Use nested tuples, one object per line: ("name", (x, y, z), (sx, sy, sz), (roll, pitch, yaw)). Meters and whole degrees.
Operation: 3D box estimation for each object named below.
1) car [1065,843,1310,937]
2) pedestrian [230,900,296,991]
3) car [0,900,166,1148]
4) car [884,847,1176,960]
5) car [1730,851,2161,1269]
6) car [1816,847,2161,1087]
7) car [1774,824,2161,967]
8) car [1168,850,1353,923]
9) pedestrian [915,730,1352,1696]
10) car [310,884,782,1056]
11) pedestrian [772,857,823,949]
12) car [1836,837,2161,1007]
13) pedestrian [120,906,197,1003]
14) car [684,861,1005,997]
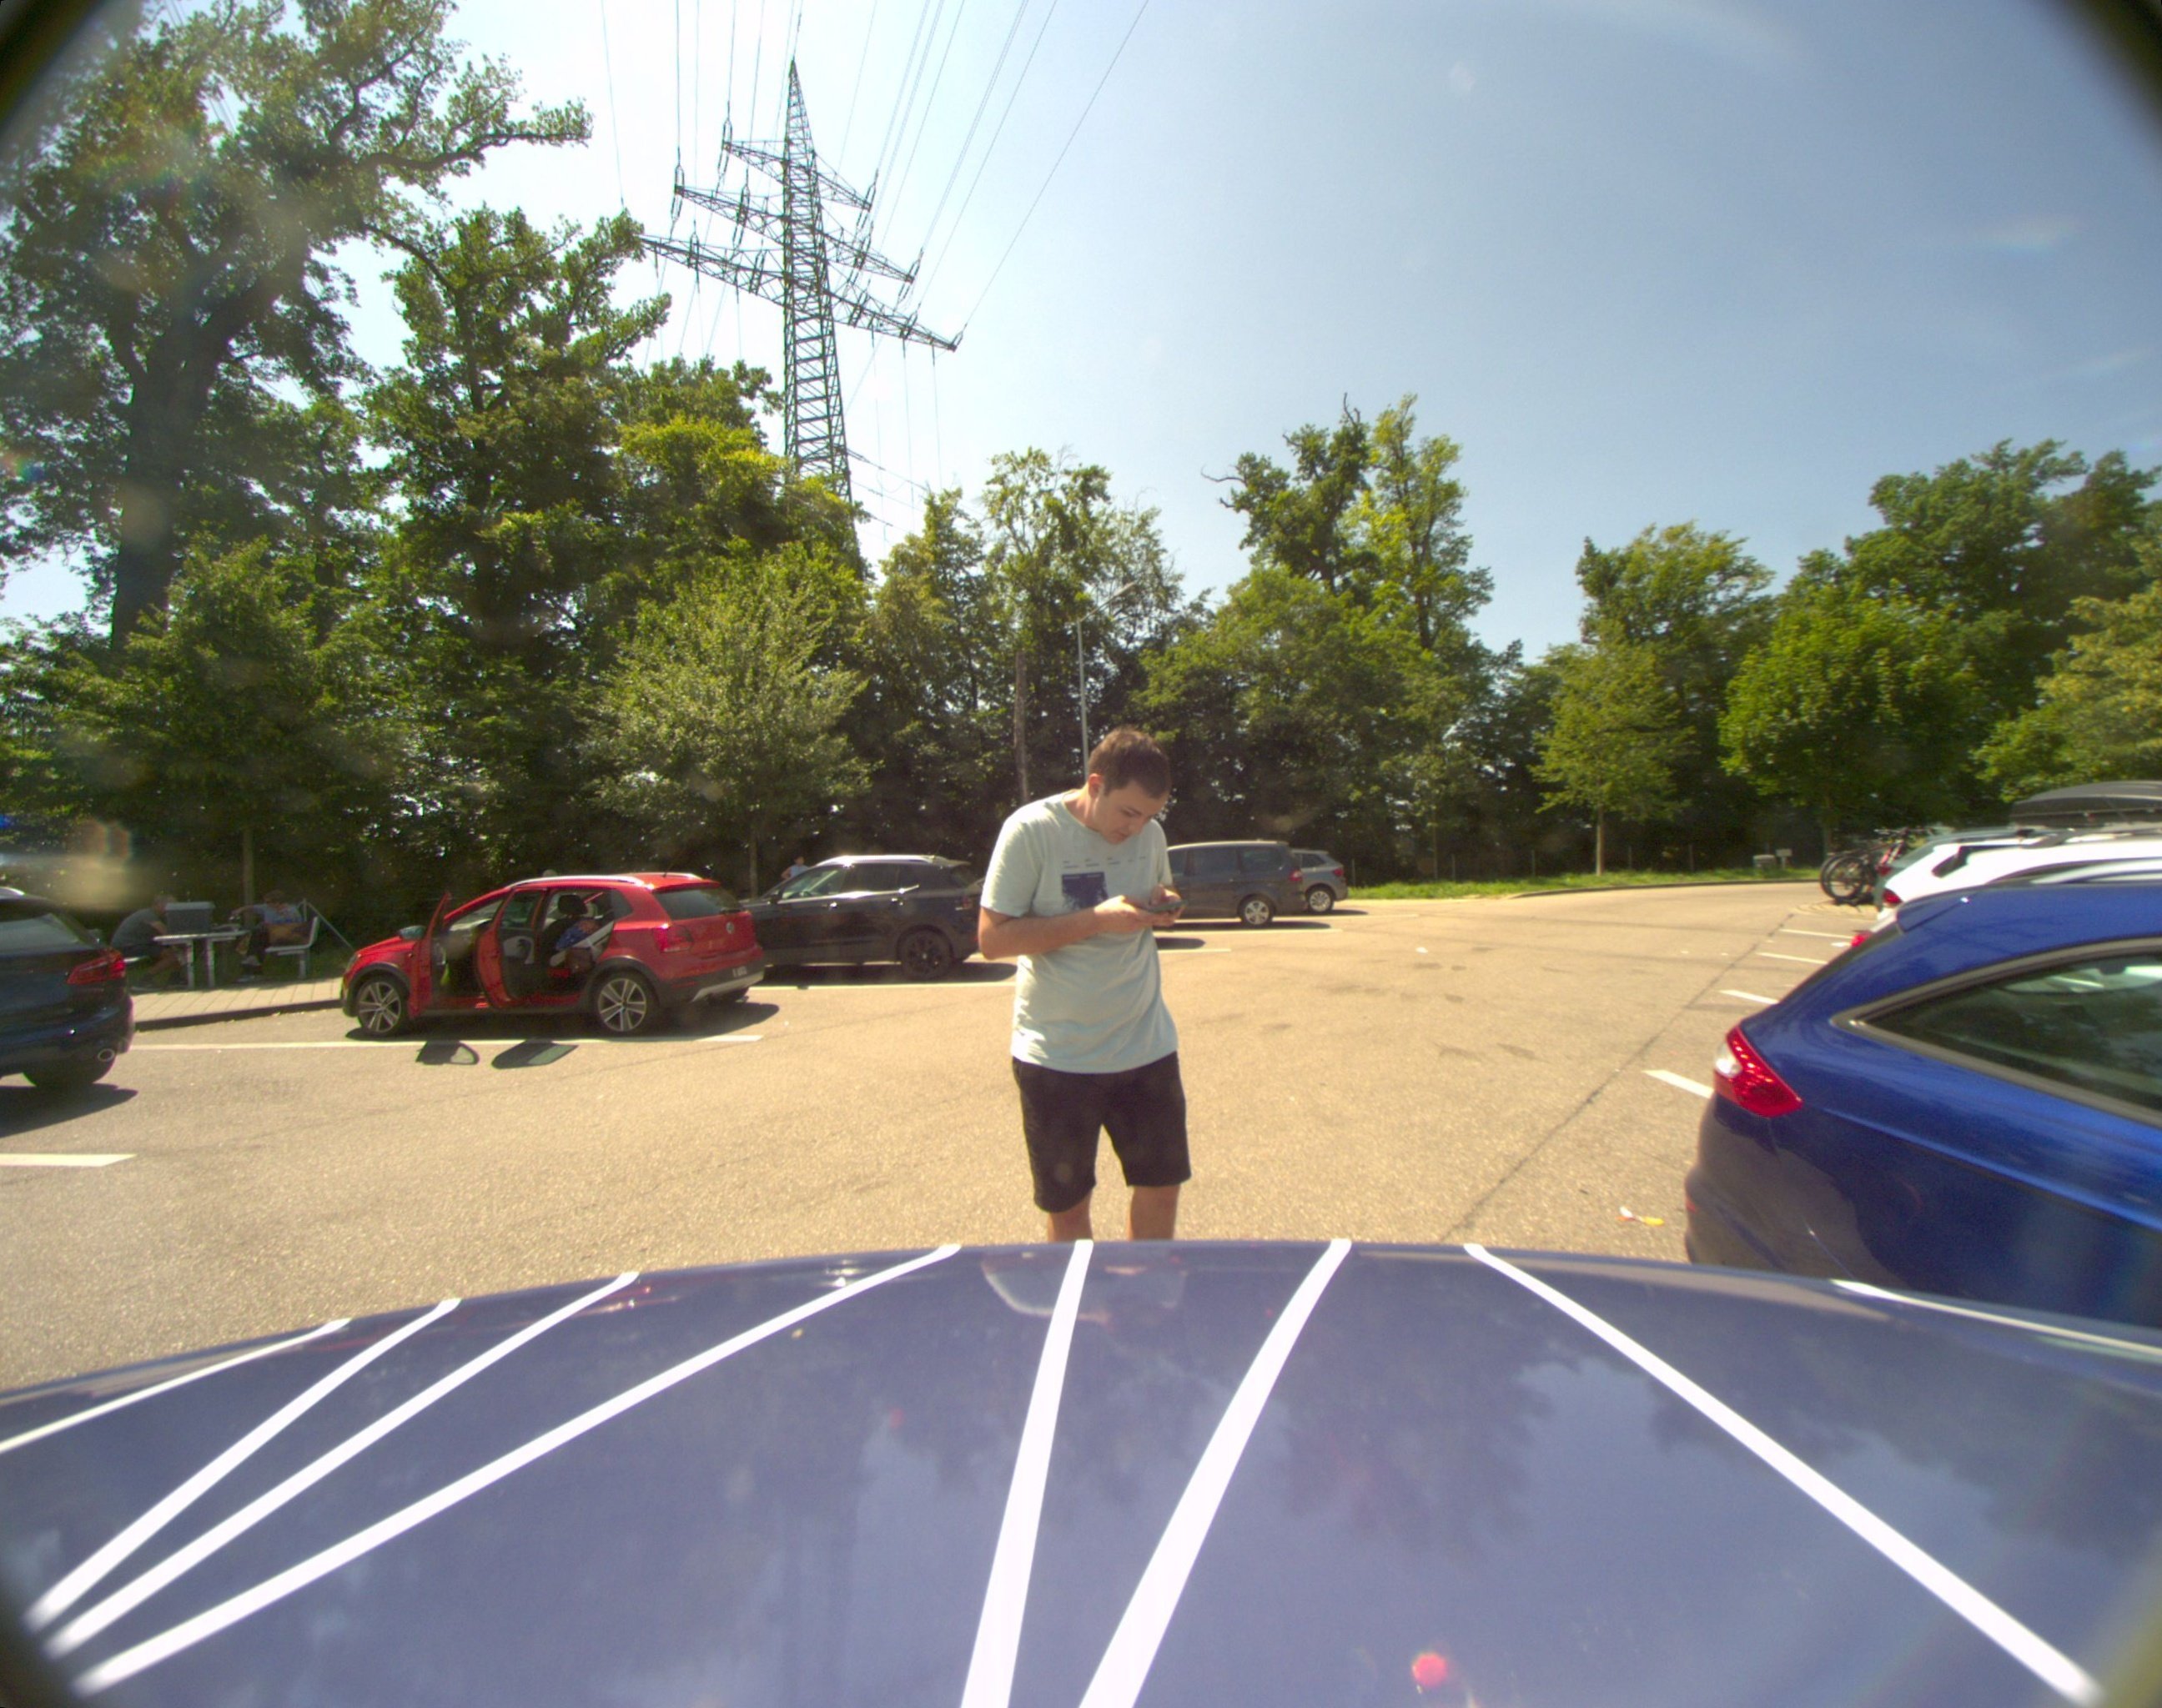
("car", (2.132, 0.711, 15.460), (4.619, 1.701, 1.740), (-2, 0, 9))
("pedestrian", (-11.957, 1.313, 11.115), (0.695, 1.228, 0.588), (-3, 0, 43))
("car", (-8.891, 1.167, 4.980), (3.934, 1.534, 1.812), (-2, 0, 7))
("car", (-0.759, 0.807, 13.067), (4.610, 1.703, 2.001), (-2, 1, 9))
("car", (4.867, 0.739, 2.343), (1.776, 1.491, 4.495), (-3, -1, -1))
("car", (7.469, 0.670, 4.502), (1.776, 1.418, 4.495), (-3, -1, -1))
("car", (12.534, 0.471, 10.360), (1.777, 1.541, 4.493), (-3, -1, -5))
("car", (4.136, 0.741, 17.999), (3.996, 1.495, 1.687), (-2, 1, 3))
("pedestrian", (0.145, 0.716, 2.044), (0.863, 1.940, 0.686), (-3, 1, -37))
("car", (-5.196, 1.094, 7.625), (3.730, 1.440, 1.591), (-2, 0, 7))
("pedestrian", (-5.839, 0.991, 15.668), (0.767, 1.821, 0.519), (-3, 2, -44))
("car", (10.102, 0.566, 6.888), (1.777, 1.418, 4.493), (-3, -1, -5))
("pedestrian", (-12.638, 1.347, 10.426), (0.695, 1.228, 0.588), (-3, 0, 43))
("car", (-3.039, 0.950, 10.302), (3.732, 1.578, 1.739), (-2, 0, 2))
